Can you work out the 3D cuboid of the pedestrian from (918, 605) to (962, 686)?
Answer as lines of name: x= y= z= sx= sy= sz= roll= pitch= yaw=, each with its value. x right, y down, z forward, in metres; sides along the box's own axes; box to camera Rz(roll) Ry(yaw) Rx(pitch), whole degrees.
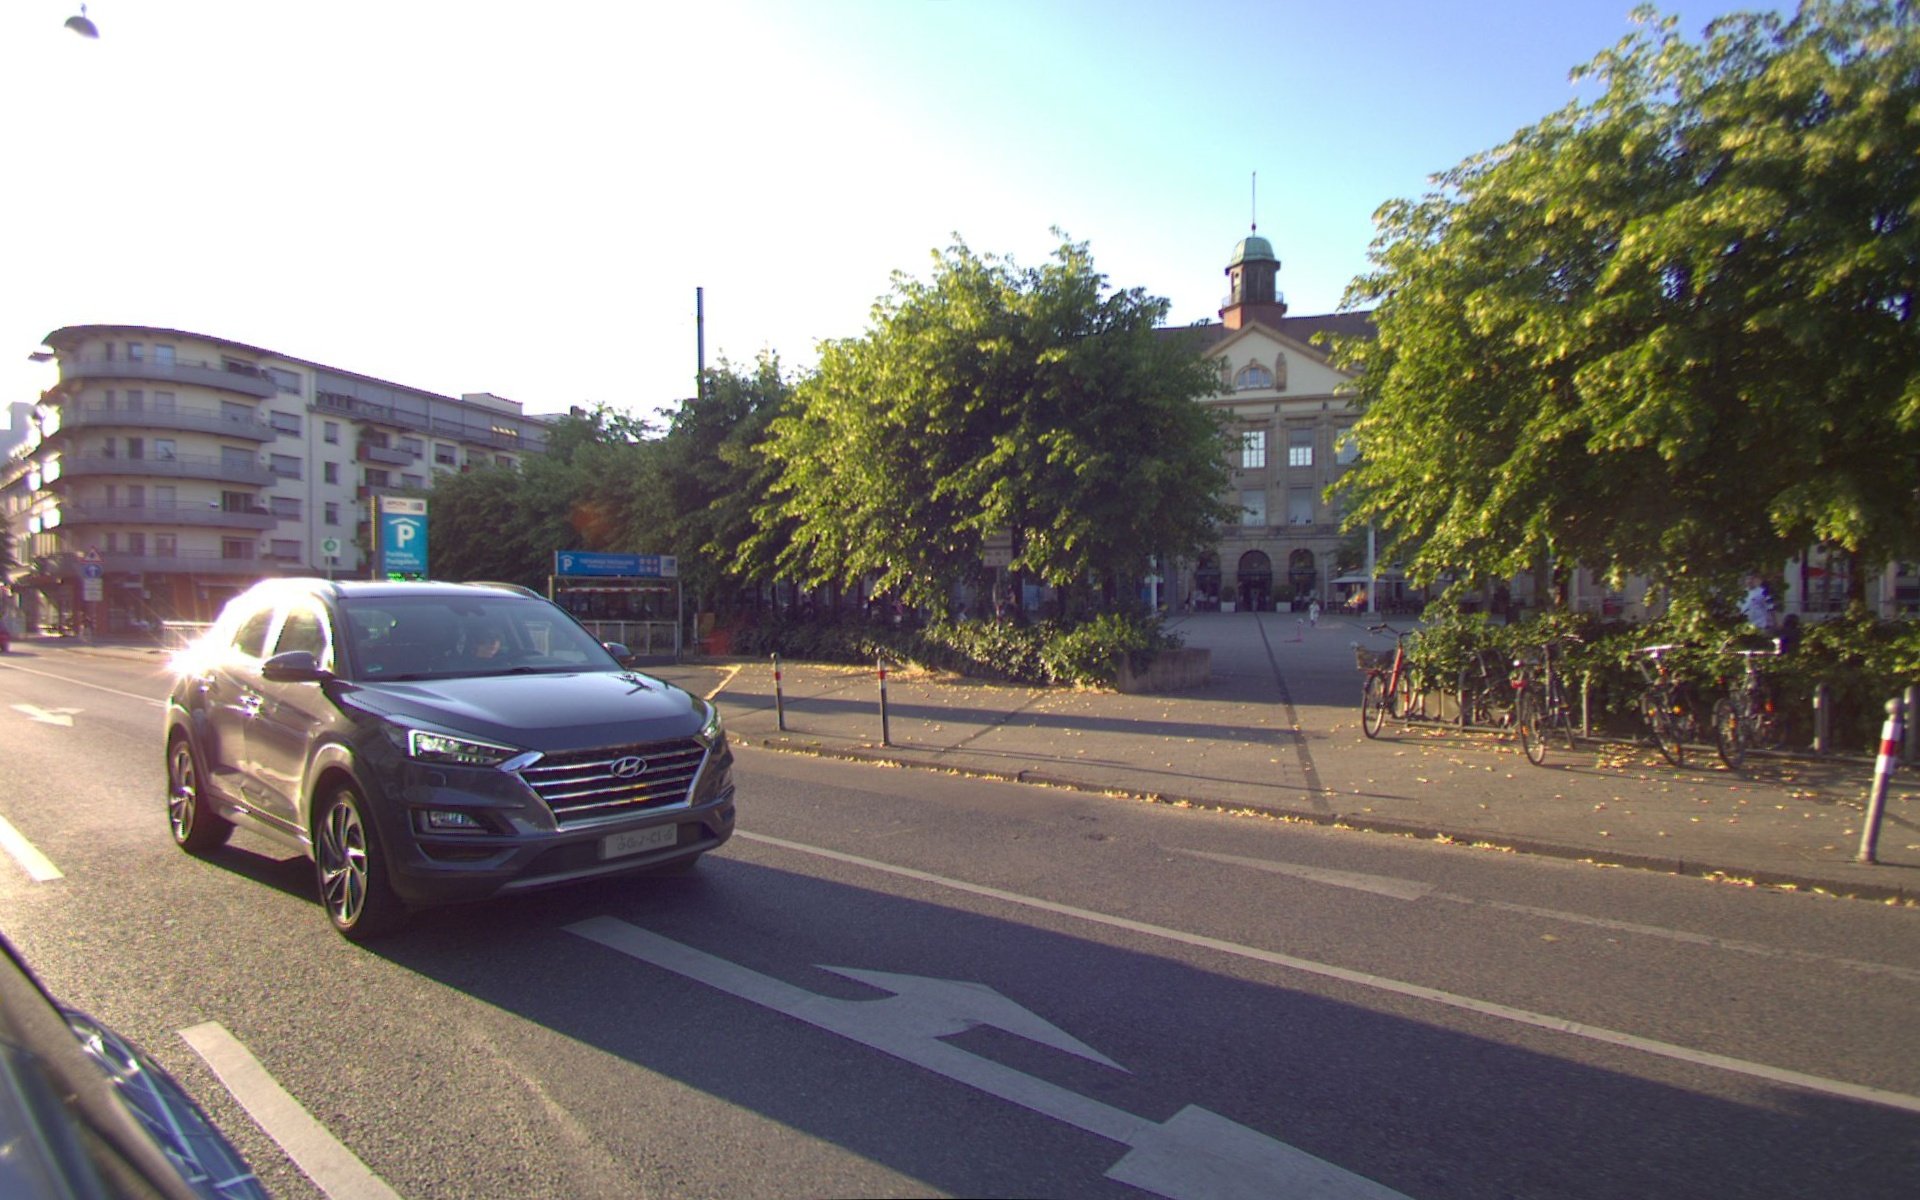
pedestrian: x=-0.524 y=1.155 z=26.149 sx=0.890 sy=2.029 sz=0.742 roll=-1 pitch=0 yaw=-26

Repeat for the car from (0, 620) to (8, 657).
car: x=-40.000 y=1.532 z=40.858 sx=3.953 sy=1.477 sz=1.768 roll=0 pitch=-1 yaw=40

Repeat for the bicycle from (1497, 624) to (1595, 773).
bicycle: x=5.451 y=0.842 z=9.361 sx=0.548 sy=1.143 sz=2.007 roll=-1 pitch=1 yaw=36

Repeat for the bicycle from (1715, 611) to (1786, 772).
bicycle: x=7.020 y=0.753 z=8.977 sx=0.444 sy=1.262 sz=1.571 roll=-1 pitch=1 yaw=39

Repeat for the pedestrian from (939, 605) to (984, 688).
pedestrian: x=0.030 y=1.154 z=25.555 sx=0.890 sy=2.029 sz=0.742 roll=-1 pitch=0 yaw=-22

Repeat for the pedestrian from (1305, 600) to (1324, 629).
pedestrian: x=13.631 y=0.541 z=38.879 sx=0.528 sy=1.071 sz=0.457 roll=-3 pitch=-1 yaw=35

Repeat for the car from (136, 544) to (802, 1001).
car: x=-3.105 y=0.689 z=5.929 sx=4.445 sy=1.702 sz=1.854 roll=-1 pitch=-2 yaw=40

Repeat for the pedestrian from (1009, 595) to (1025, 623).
pedestrian: x=2.838 y=0.468 z=50.516 sx=0.651 sy=1.386 sz=0.515 roll=-1 pitch=0 yaw=27

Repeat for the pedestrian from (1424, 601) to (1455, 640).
pedestrian: x=13.742 y=0.584 z=29.020 sx=0.454 sy=1.071 sz=0.589 roll=-3 pitch=-1 yaw=-20

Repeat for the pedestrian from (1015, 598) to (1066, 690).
pedestrian: x=1.822 y=0.982 z=22.907 sx=0.739 sy=2.029 sz=0.866 roll=-1 pitch=-1 yaw=43

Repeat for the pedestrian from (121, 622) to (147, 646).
pedestrian: x=-47.047 y=1.917 z=57.647 sx=0.726 sy=1.332 sz=0.885 roll=-1 pitch=0 yaw=14

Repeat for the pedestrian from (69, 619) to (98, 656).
pedestrian: x=-37.896 y=1.614 z=43.737 sx=0.668 sy=1.529 sz=0.677 roll=-1 pitch=-1 yaw=-2

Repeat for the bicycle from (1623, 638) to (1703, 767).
bicycle: x=6.488 y=0.892 z=9.312 sx=0.548 sy=0.986 sz=1.658 roll=-1 pitch=1 yaw=37

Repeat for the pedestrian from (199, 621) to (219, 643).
pedestrian: x=-45.451 y=1.920 z=61.251 sx=0.888 sy=1.332 sz=0.723 roll=-1 pitch=0 yaw=38

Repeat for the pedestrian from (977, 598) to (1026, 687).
pedestrian: x=0.977 y=0.981 z=23.877 sx=0.890 sy=2.029 sz=0.742 roll=-1 pitch=0 yaw=-22

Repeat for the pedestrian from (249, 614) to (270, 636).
pedestrian: x=-44.548 y=1.579 z=64.344 sx=0.884 sy=1.332 sz=0.727 roll=-1 pitch=0 yaw=26

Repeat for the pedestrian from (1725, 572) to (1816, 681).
pedestrian: x=13.402 y=0.417 z=16.753 sx=0.724 sy=1.738 sz=0.899 roll=-1 pitch=1 yaw=-12

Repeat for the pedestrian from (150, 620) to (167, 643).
pedestrian: x=-47.096 y=1.858 z=59.460 sx=0.611 sy=1.332 sz=0.669 roll=-1 pitch=0 yaw=39

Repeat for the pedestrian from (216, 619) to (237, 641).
pedestrian: x=-44.951 y=1.849 z=62.053 sx=0.884 sy=1.332 sz=0.726 roll=-1 pitch=0 yaw=28

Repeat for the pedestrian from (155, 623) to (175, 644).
pedestrian: x=-46.251 y=1.948 z=58.892 sx=0.875 sy=1.201 sz=0.734 roll=-1 pitch=0 yaw=-40

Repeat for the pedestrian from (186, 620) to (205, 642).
pedestrian: x=-45.929 y=1.858 z=60.760 sx=0.888 sy=1.332 sz=0.723 roll=-1 pitch=0 yaw=40

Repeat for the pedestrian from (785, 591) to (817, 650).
pedestrian: x=-5.551 y=0.704 z=35.376 sx=0.733 sy=2.029 sz=0.901 roll=-1 pitch=0 yaw=18

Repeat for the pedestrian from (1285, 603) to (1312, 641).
pedestrian: x=9.875 y=0.641 z=29.521 sx=0.454 sy=1.071 sz=0.531 roll=-3 pitch=-1 yaw=-30

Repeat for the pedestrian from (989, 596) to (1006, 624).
pedestrian: x=1.899 y=0.509 z=51.202 sx=0.651 sy=1.386 sz=0.656 roll=-1 pitch=0 yaw=26

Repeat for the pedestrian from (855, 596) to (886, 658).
pedestrian: x=-2.987 y=0.903 z=33.917 sx=0.733 sy=2.029 sz=0.901 roll=-1 pitch=0 yaw=18

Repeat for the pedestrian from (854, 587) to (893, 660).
pedestrian: x=-2.458 y=0.658 z=28.691 sx=0.890 sy=2.029 sz=0.742 roll=-1 pitch=0 yaw=-22

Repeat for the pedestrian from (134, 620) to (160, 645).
pedestrian: x=-46.147 y=1.843 z=57.444 sx=0.725 sy=1.332 sz=0.886 roll=-1 pitch=0 yaw=10

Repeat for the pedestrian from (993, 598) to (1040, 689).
pedestrian: x=1.286 y=0.987 z=23.197 sx=0.739 sy=2.029 sz=0.754 roll=-1 pitch=-1 yaw=43

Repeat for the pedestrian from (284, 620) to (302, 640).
pedestrian: x=-44.405 y=1.999 z=67.401 sx=0.721 sy=1.332 sz=0.891 roll=-1 pitch=0 yaw=-10

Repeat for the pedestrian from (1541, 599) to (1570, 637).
pedestrian: x=17.357 y=0.517 z=29.500 sx=0.454 sy=1.071 sz=0.531 roll=-3 pitch=-1 yaw=-20

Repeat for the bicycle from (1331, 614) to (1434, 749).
bicycle: x=4.620 y=0.822 z=10.991 sx=0.548 sy=1.262 sz=2.007 roll=-1 pitch=1 yaw=36

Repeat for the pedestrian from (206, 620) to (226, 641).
pedestrian: x=-46.116 y=1.889 z=62.729 sx=0.814 sy=1.332 sz=0.684 roll=-1 pitch=0 yaw=17

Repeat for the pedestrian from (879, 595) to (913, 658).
pedestrian: x=-2.106 y=0.852 z=33.201 sx=0.736 sy=2.029 sz=0.897 roll=-1 pitch=0 yaw=29
